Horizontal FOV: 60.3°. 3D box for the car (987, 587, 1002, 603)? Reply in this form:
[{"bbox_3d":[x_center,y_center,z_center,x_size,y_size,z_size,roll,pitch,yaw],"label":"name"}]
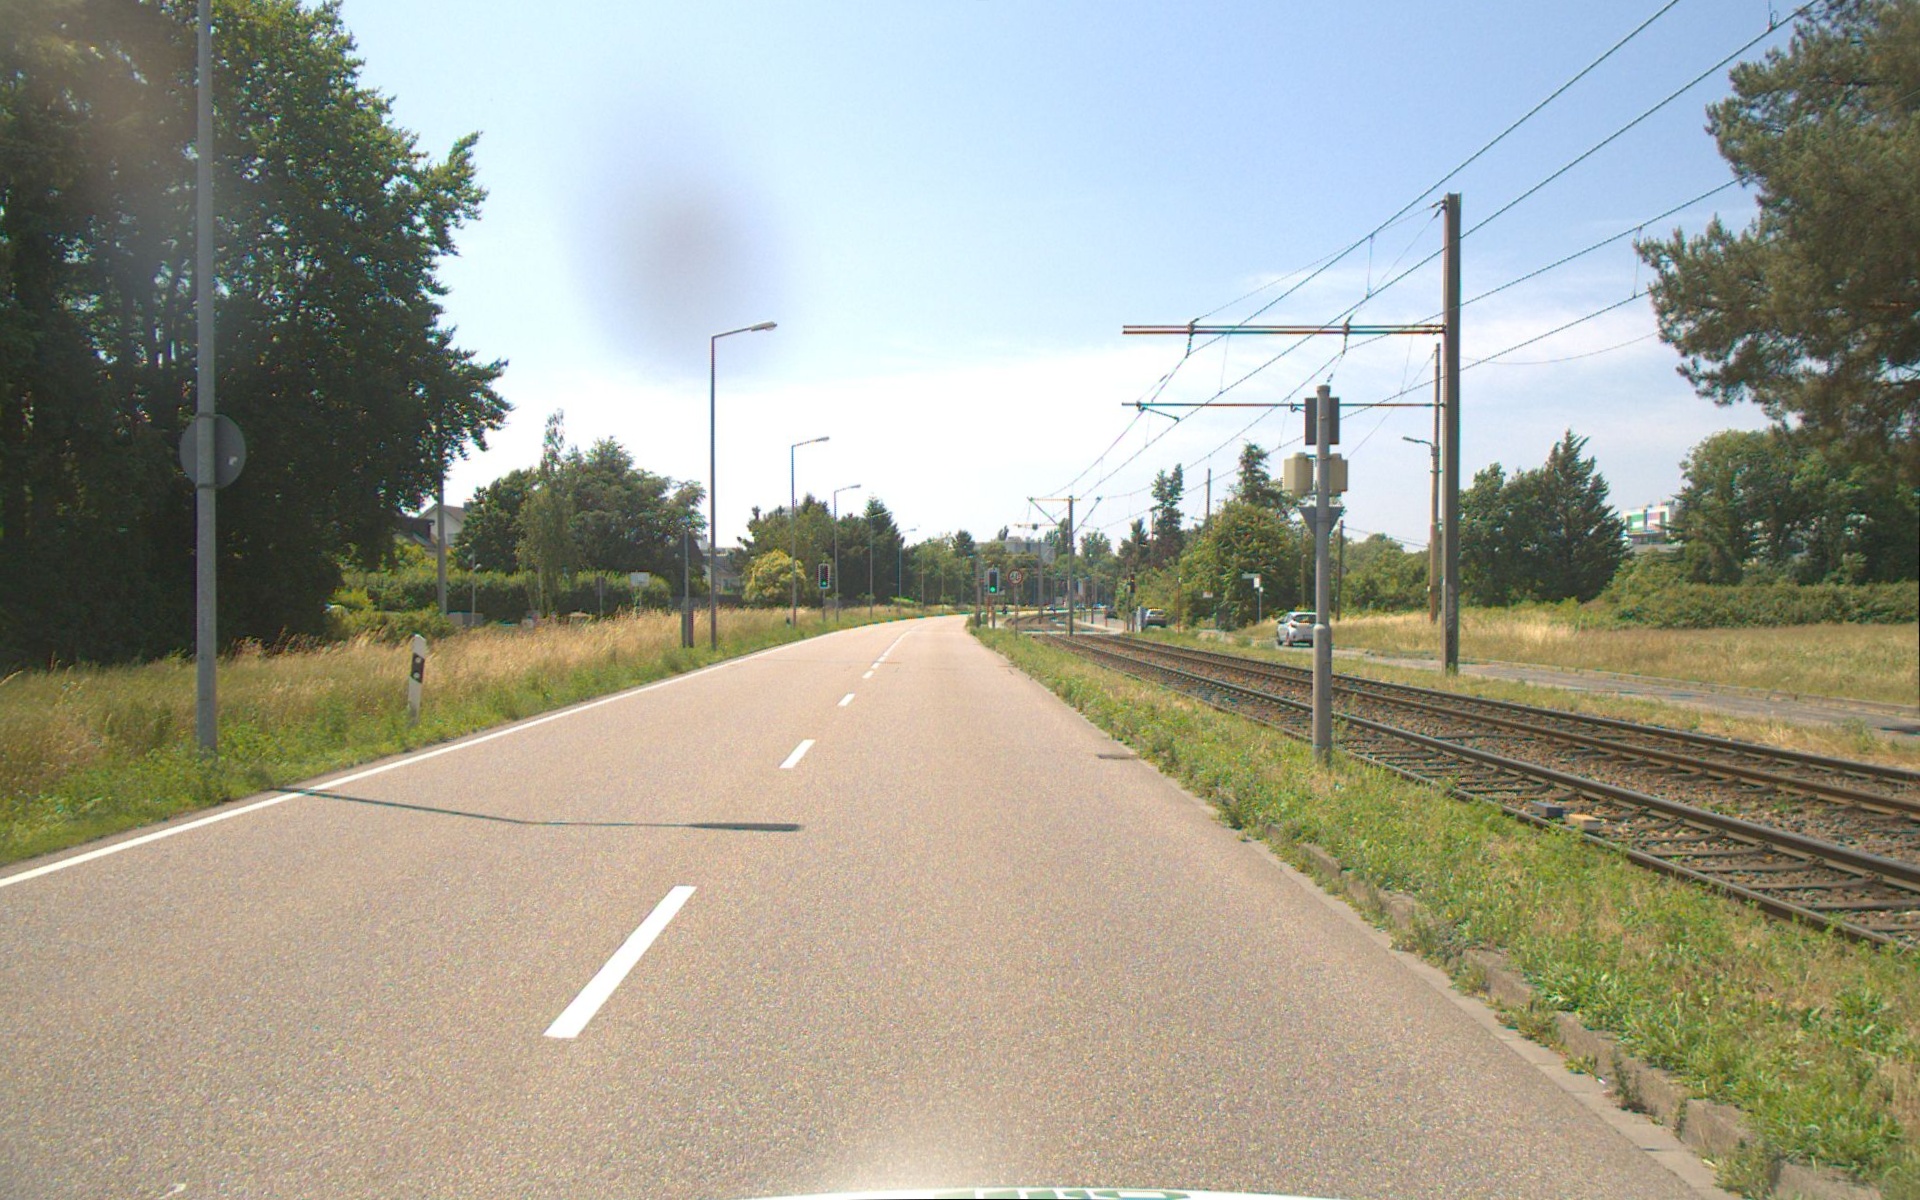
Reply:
[{"bbox_3d":[3.795,-0.549,182.963,1.520,1.613,3.568,-1,-1,-1],"label":"car"}]

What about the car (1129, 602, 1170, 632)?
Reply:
[{"bbox_3d":[10.334,0.940,90.456,1.709,1.587,3.999,-1,-1,-1],"label":"car"}]

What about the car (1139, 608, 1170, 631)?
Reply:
[{"bbox_3d":[15.088,1.518,128.557,1.876,1.691,3.999,-1,-1,-1],"label":"car"}]

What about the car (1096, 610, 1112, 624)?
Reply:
[{"bbox_3d":[18.925,2.280,217.140,1.721,1.780,3.999,-1,-1,-1],"label":"car"}]

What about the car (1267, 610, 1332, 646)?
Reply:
[{"bbox_3d":[14.922,1.243,72.888,1.953,1.534,3.999,-1,-1,-1],"label":"car"}]
